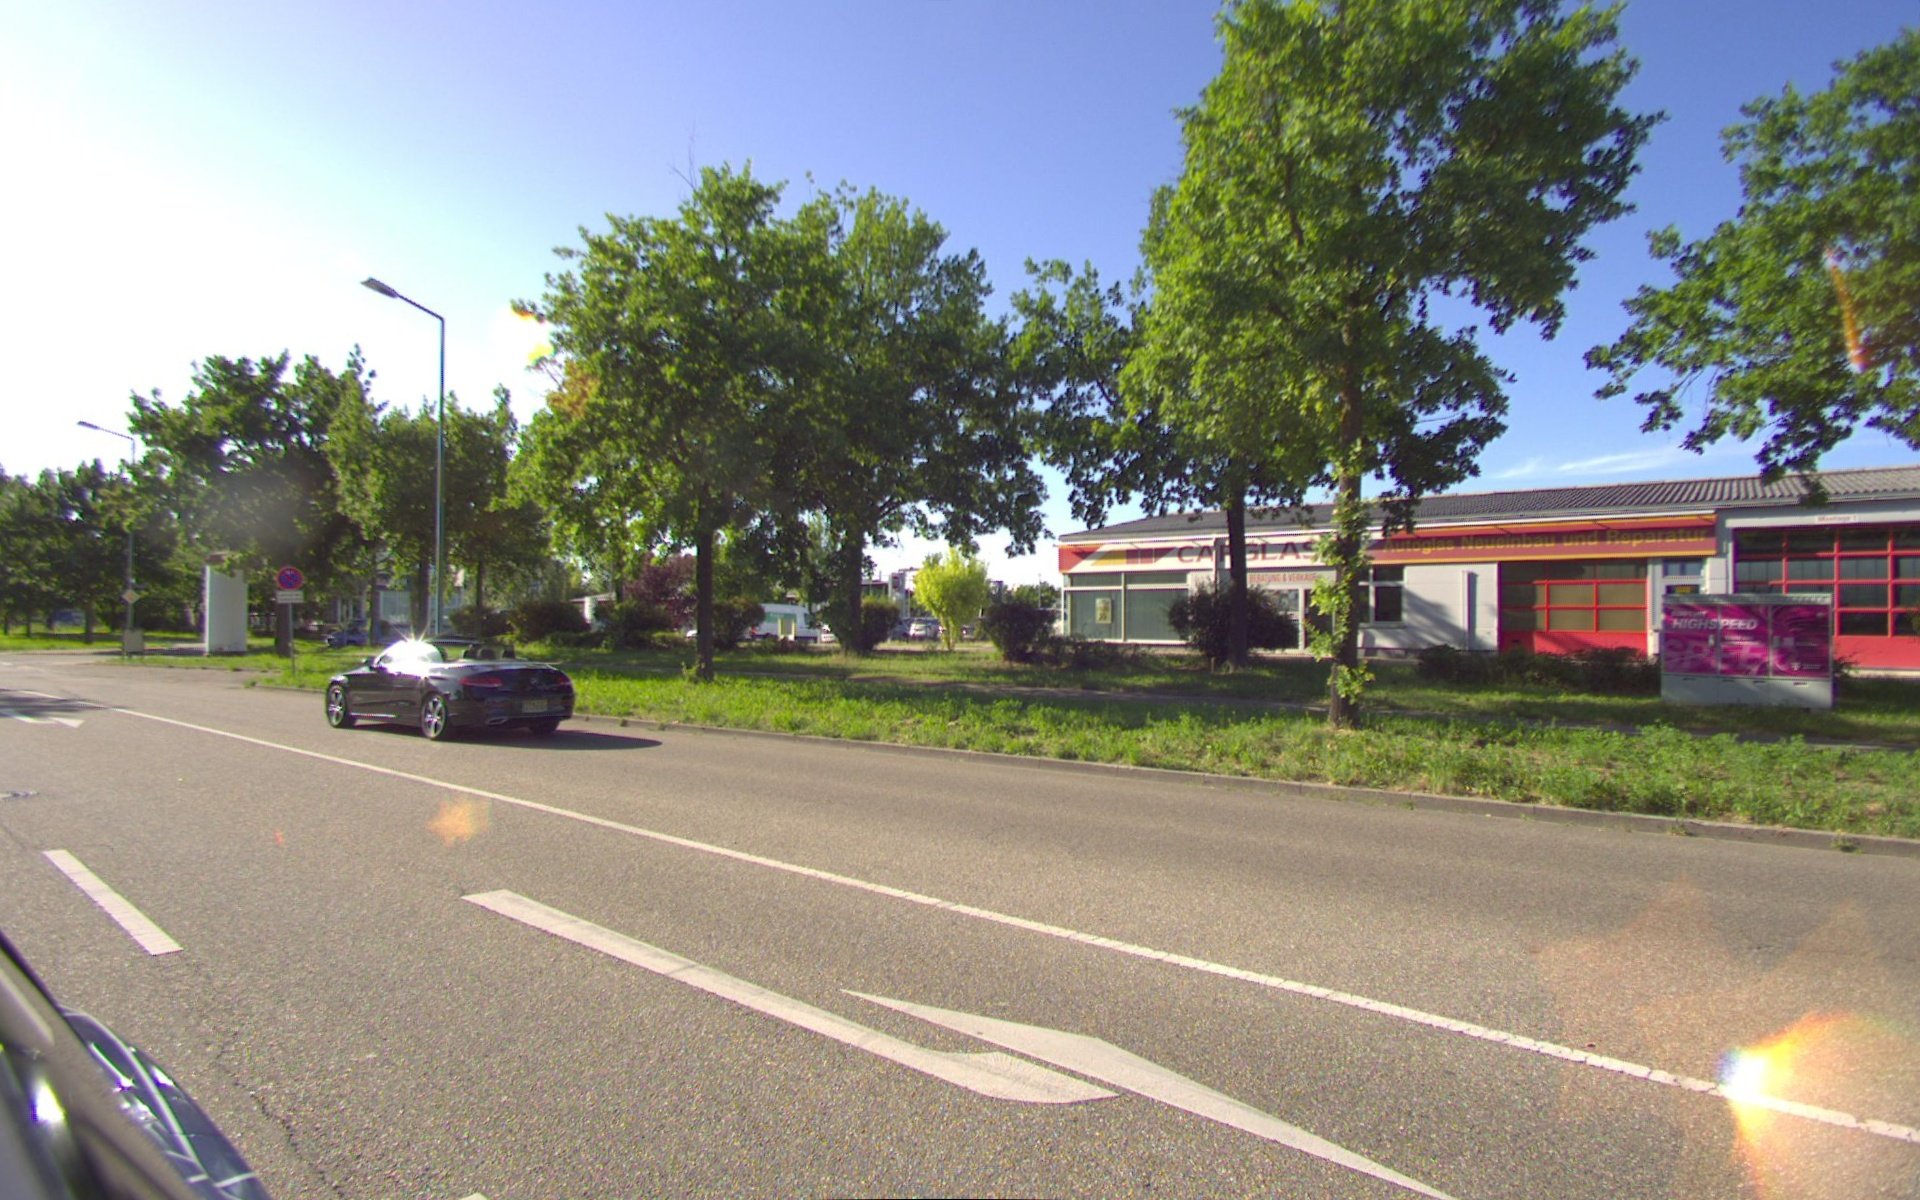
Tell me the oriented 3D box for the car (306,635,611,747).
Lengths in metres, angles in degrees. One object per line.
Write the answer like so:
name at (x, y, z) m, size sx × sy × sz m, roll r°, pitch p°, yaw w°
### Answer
car at (-7.481, 1.269, 14.967) m, size 4.575 × 1.414 × 1.977 m, roll -1°, pitch -5°, yaw 34°

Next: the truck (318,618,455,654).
truck at (-35.084, 2.229, 62.201) m, size 2.138 × 2.065 × 7.043 m, roll 0°, pitch -2°, yaw 38°

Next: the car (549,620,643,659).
car at (-26.502, 2.820, 73.864) m, size 2.297 × 2.535 × 6.280 m, roll 0°, pitch 0°, yaw 37°

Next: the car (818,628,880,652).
car at (-6.391, 2.285, 58.349) m, size 1.572 × 1.312 × 3.489 m, roll -1°, pitch -2°, yaw 38°

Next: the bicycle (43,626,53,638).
bicycle at (-92.795, 3.297, 102.978) m, size 2.334 × 1.170 × 0.545 m, roll 0°, pitch 0°, yaw 43°

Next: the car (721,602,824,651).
car at (-11.152, 1.520, 60.678) m, size 2.297 × 2.723 × 6.102 m, roll 0°, pitch 0°, yaw 37°

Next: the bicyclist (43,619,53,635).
bicyclist at (-92.935, 2.716, 103.109) m, size 0.659 × 1.641 × 0.657 m, roll 0°, pitch 0°, yaw 43°
